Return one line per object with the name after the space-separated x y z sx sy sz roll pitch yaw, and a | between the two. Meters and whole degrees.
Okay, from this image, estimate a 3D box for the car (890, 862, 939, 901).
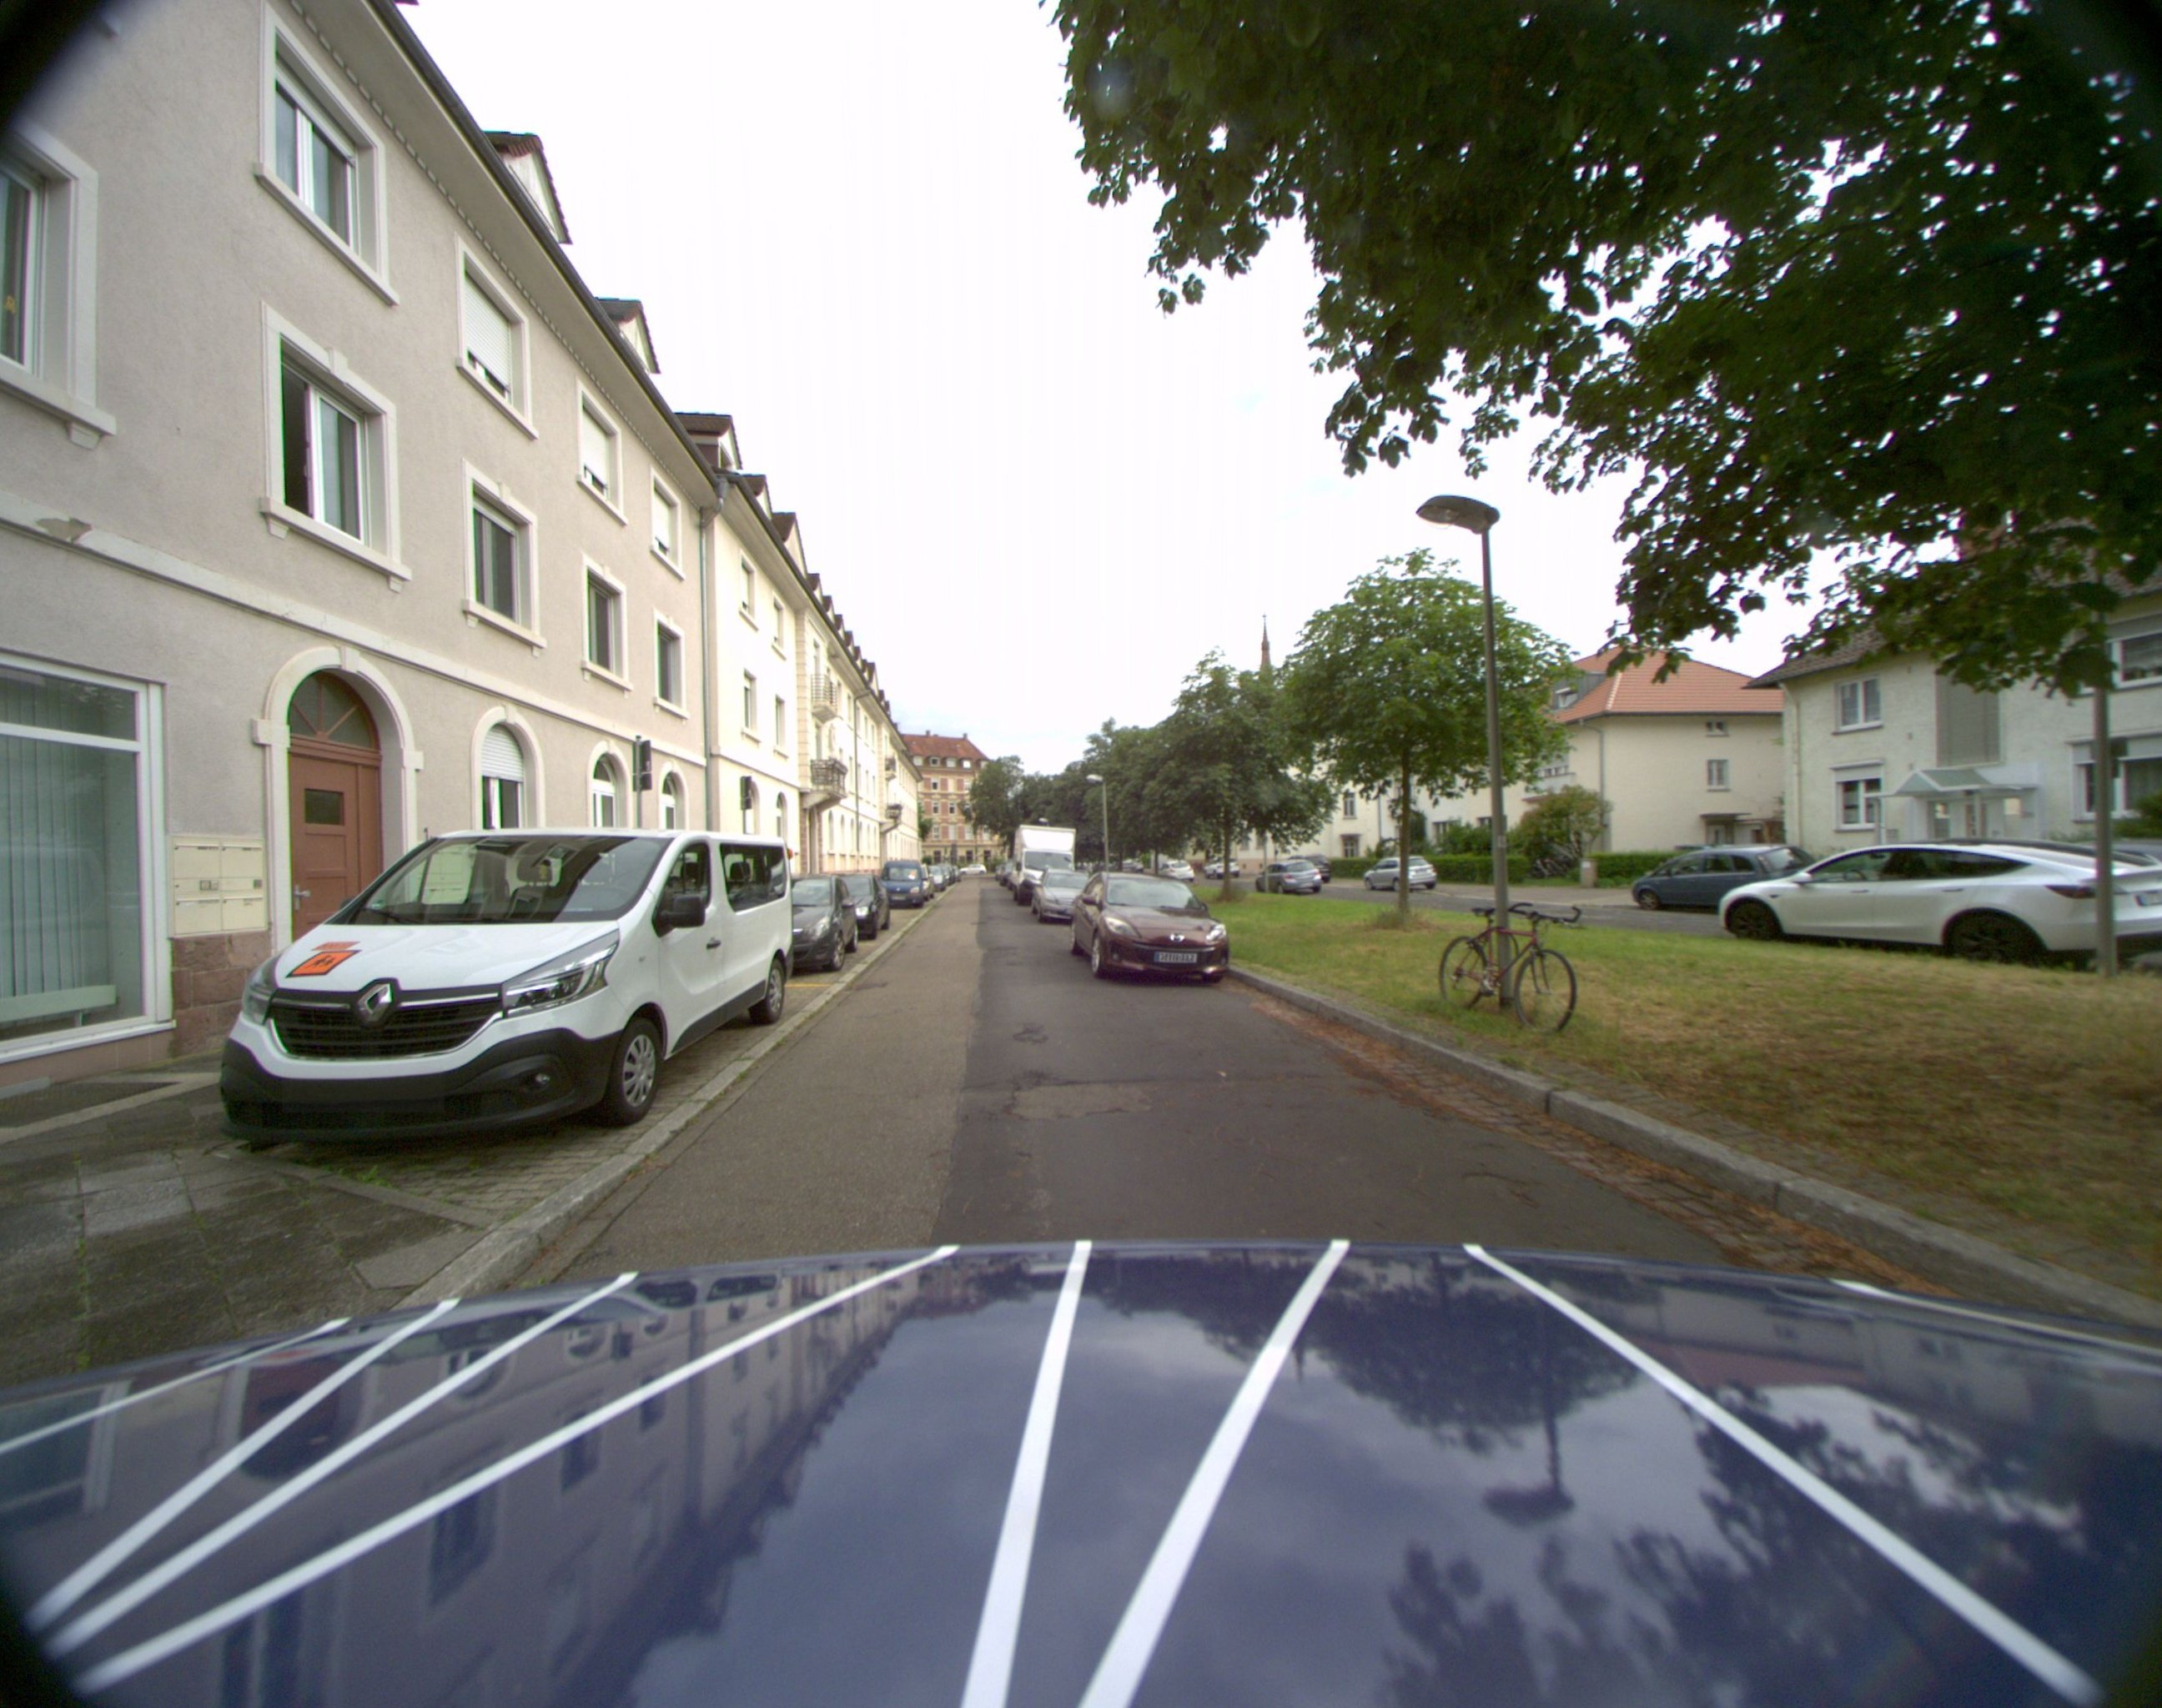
-7.544 1.225 34.813 1.776 1.627 4.126 2 -1 -7 | car

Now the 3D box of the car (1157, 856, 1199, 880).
6.537 0.934 51.536 1.805 1.479 4.004 -3 0 -7 | car

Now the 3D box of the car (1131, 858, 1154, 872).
7.582 1.334 93.370 1.971 1.629 4.004 -3 0 -7 | car

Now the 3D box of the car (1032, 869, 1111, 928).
-0.375 1.203 21.805 1.716 1.449 4.445 3 -1 -7 | car

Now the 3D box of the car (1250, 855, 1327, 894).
8.957 0.867 33.112 1.805 1.479 4.004 -3 0 -7 | car

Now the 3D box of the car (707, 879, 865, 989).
-4.627 1.178 12.485 1.694 1.445 3.898 1 -1 -10 | car

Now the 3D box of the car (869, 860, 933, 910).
-6.812 1.122 29.150 1.944 1.774 4.184 0 -1 -7 | car

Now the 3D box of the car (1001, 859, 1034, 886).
-4.309 1.256 51.100 1.786 1.697 4.312 2 -1 -9 | car

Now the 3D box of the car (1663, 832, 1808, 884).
25.306 0.156 29.465 3.999 1.717 1.999 -4 0 -7 | car

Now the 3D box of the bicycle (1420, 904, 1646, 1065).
3.755 1.022 6.538 0.668 1.060 1.884 -1 0 -5 | bicycle

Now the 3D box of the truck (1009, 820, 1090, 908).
-1.435 0.419 30.215 2.446 2.939 7.108 3 -1 -7 | truck

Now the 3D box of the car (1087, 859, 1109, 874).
1.945 1.466 88.650 1.971 1.629 4.004 -3 0 -7 | car

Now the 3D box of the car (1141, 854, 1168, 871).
8.164 0.960 84.725 1.970 1.630 4.004 -5 0 -7 | car

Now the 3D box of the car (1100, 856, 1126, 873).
3.266 1.089 77.792 1.971 1.629 4.004 -3 0 -7 | car

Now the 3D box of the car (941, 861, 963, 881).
-10.710 1.419 63.196 1.610 1.575 4.008 -1 0 -7 | car

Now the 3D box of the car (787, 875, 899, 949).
-5.375 1.251 17.721 1.693 1.445 4.542 1 -1 -7 | car

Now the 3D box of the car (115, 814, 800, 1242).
-3.856 0.851 6.131 1.884 1.984 5.010 0 -1 -7 | car

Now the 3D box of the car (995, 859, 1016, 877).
-7.056 1.307 70.469 1.644 1.570 4.206 -1 0 -9 | car

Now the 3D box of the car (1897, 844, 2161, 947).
17.086 0.641 12.868 1.719 1.491 4.165 -4 0 -8 | car

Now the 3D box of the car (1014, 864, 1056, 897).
-2.372 1.311 38.485 1.645 1.505 4.148 2 -1 -9 | car

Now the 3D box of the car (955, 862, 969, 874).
-13.858 1.654 88.455 1.456 1.388 4.008 2 -1 -7 | car

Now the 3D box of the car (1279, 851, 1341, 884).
13.171 0.752 43.956 1.805 1.664 4.098 -5 0 -7 | car

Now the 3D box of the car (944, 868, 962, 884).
-11.481 1.962 68.318 1.456 1.388 4.008 2 -1 -7 | car

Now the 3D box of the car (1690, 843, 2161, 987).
11.841 0.696 10.881 1.903 1.557 4.881 -1 -1 -7 | car

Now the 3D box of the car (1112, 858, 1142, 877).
4.247 1.247 70.897 1.971 1.629 4.004 -3 0 -7 | car

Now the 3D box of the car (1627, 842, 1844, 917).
16.213 0.606 19.115 1.719 1.592 3.883 -4 0 -9 | car

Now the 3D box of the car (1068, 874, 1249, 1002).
0.914 1.079 11.257 1.716 1.449 4.160 3 -1 -7 | car

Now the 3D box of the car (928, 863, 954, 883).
-10.251 1.364 55.804 1.610 1.391 4.008 2 -1 -7 | car

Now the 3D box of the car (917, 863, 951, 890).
-8.657 1.302 44.989 1.687 1.505 3.952 2 -1 -7 | car

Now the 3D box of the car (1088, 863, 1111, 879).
2.015 1.831 84.020 1.971 1.629 4.004 -3 0 -7 | car

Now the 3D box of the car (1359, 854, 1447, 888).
14.155 0.742 33.651 1.805 1.347 3.939 -3 0 -7 | car

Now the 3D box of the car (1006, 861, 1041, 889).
-3.348 1.196 43.777 1.644 1.505 4.148 -1 -1 -9 | car

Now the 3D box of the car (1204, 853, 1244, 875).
11.106 0.788 59.211 1.805 1.597 4.004 -3 0 -7 | car
